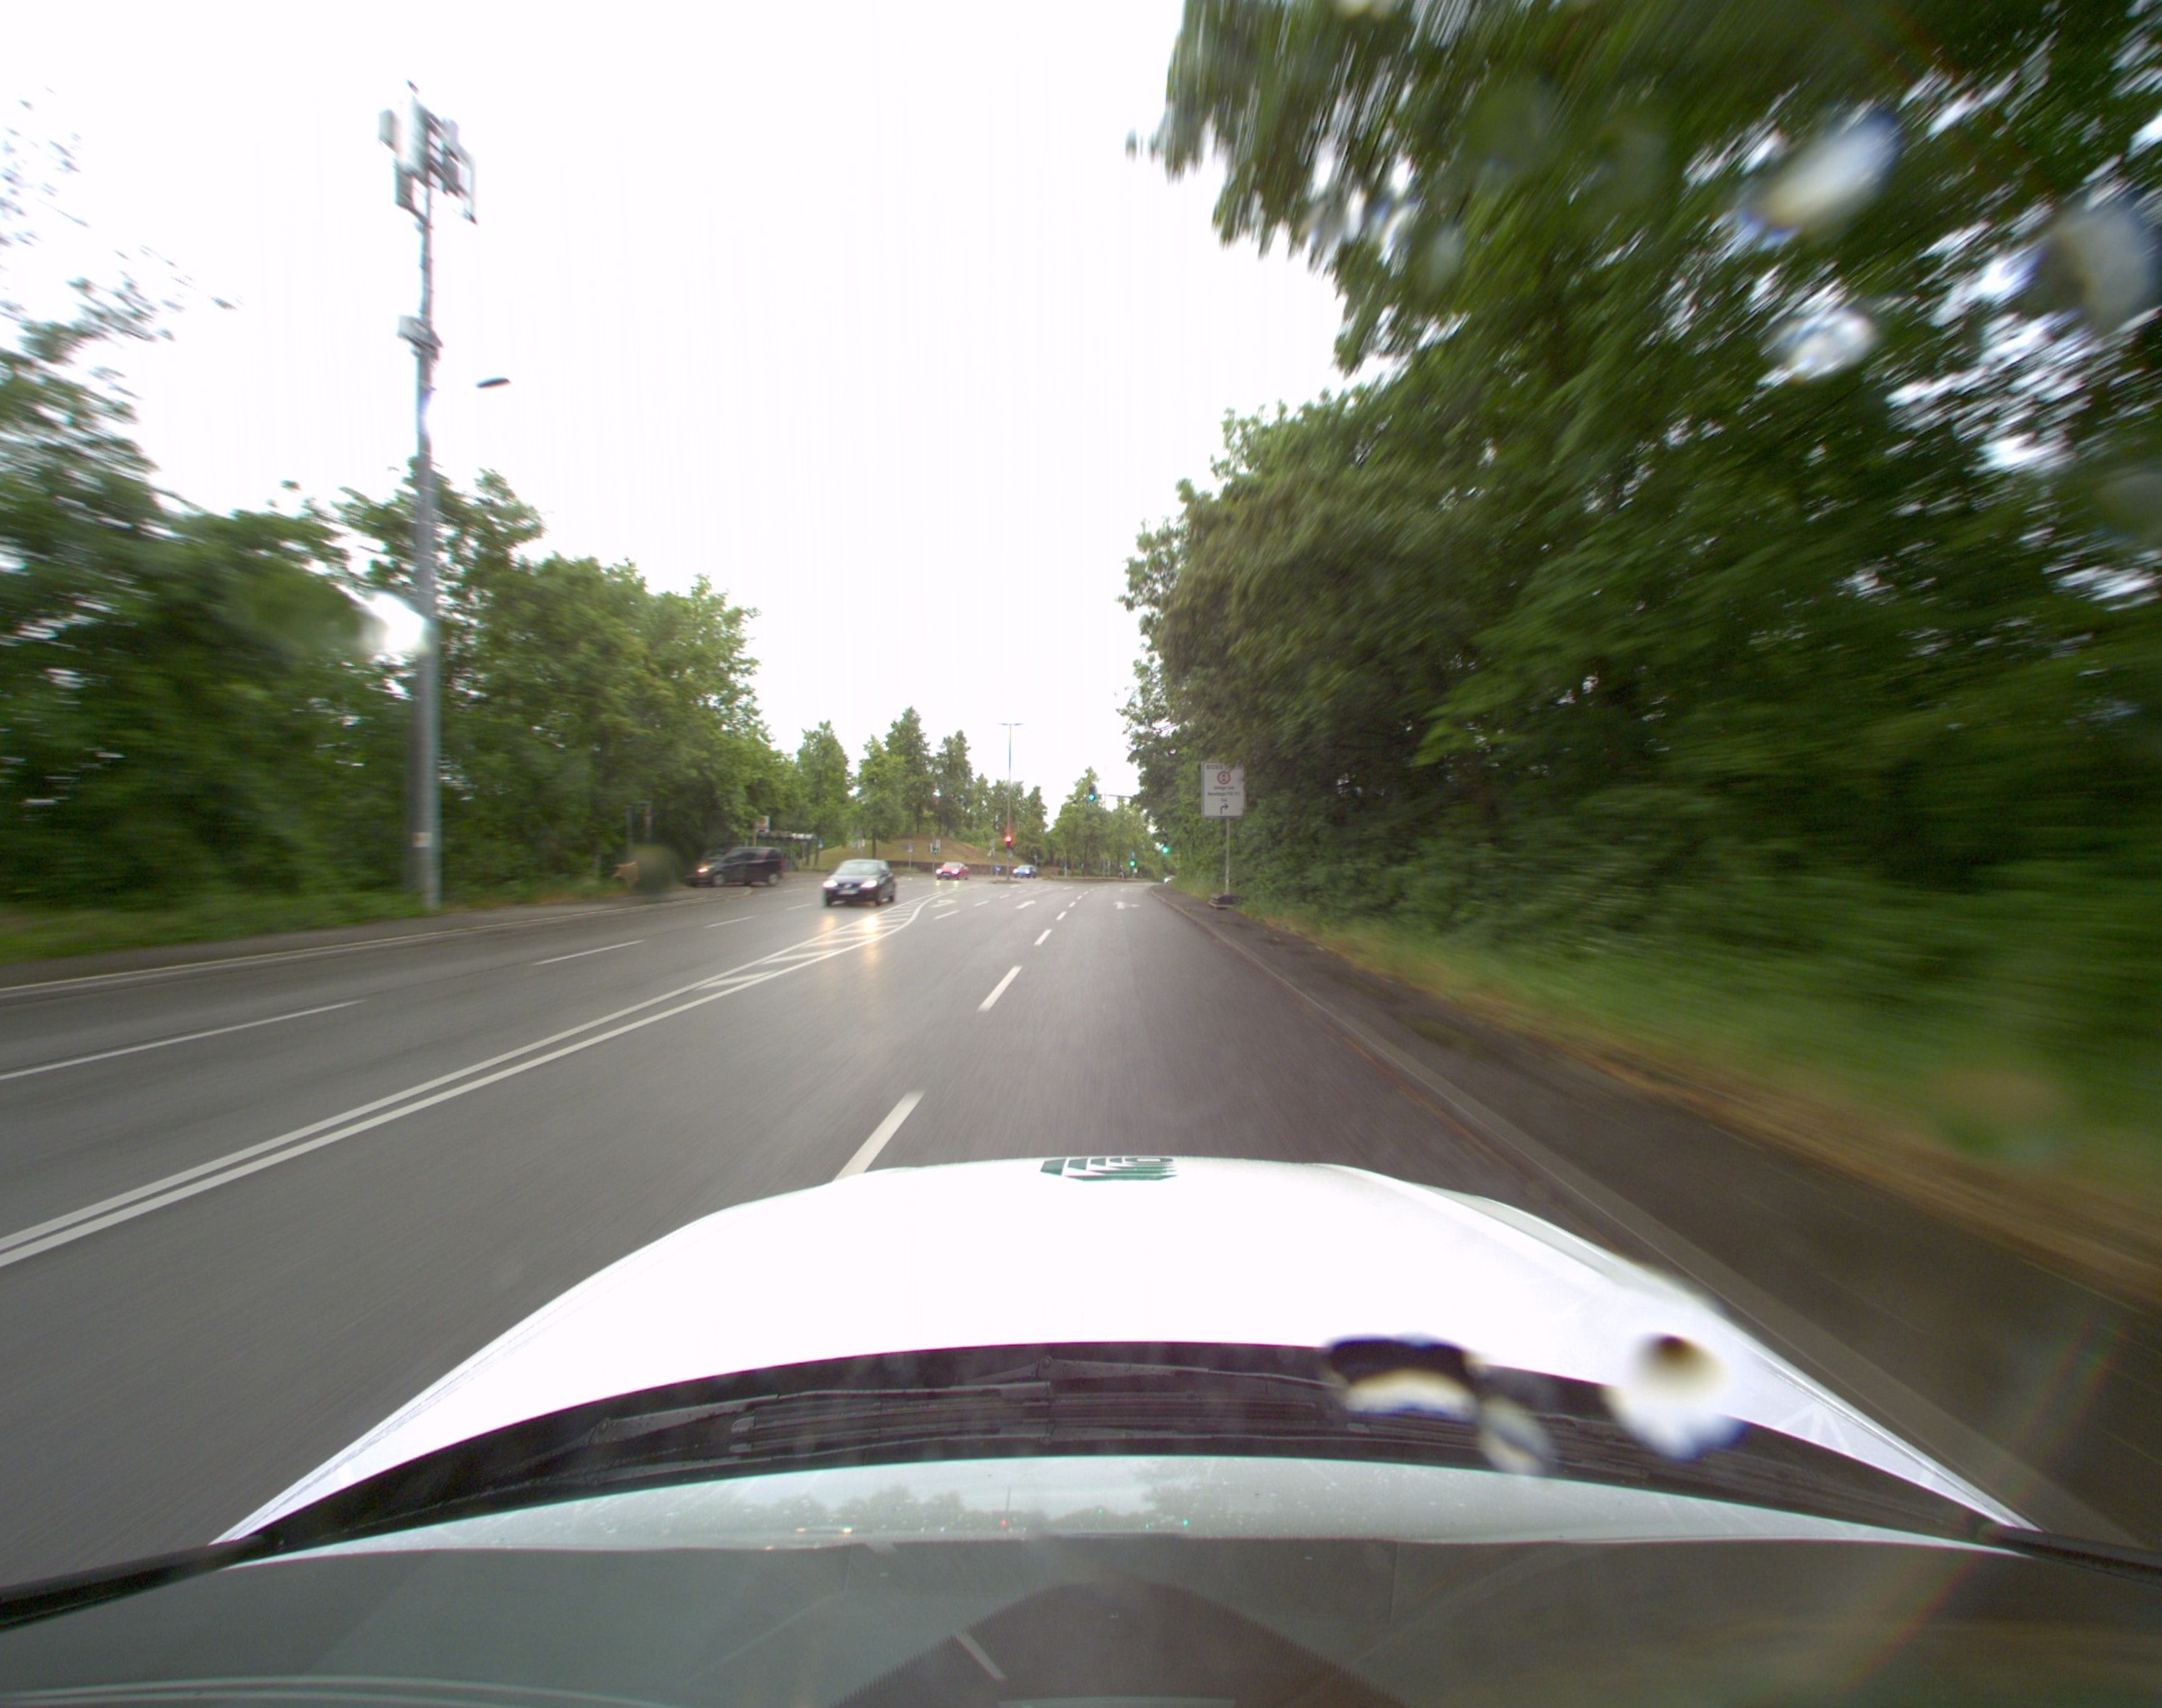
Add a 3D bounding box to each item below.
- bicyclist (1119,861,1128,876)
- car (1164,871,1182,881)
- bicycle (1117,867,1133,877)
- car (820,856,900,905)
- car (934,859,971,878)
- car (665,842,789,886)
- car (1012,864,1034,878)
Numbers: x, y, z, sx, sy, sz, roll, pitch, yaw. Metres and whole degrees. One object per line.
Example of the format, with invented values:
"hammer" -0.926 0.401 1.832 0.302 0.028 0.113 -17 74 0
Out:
"bicyclist" 5.293 1.833 100.731 0.805 1.753 0.716 4 -6 -40
"car" 16.668 4.013 146.824 1.928 1.636 5.029 1 -2 21
"bicycle" 5.469 2.252 100.814 2.151 1.143 0.547 3 -2 -40
"car" -7.123 0.812 26.588 1.697 1.427 4.073 1 0 -4
"car" -9.976 1.127 63.532 1.866 1.374 4.391 0 0 5
"car" -16.466 0.417 38.185 2.083 1.946 5.190 -1 0 26
"car" -6.425 1.835 90.375 1.986 1.490 3.939 -1 -1 2
